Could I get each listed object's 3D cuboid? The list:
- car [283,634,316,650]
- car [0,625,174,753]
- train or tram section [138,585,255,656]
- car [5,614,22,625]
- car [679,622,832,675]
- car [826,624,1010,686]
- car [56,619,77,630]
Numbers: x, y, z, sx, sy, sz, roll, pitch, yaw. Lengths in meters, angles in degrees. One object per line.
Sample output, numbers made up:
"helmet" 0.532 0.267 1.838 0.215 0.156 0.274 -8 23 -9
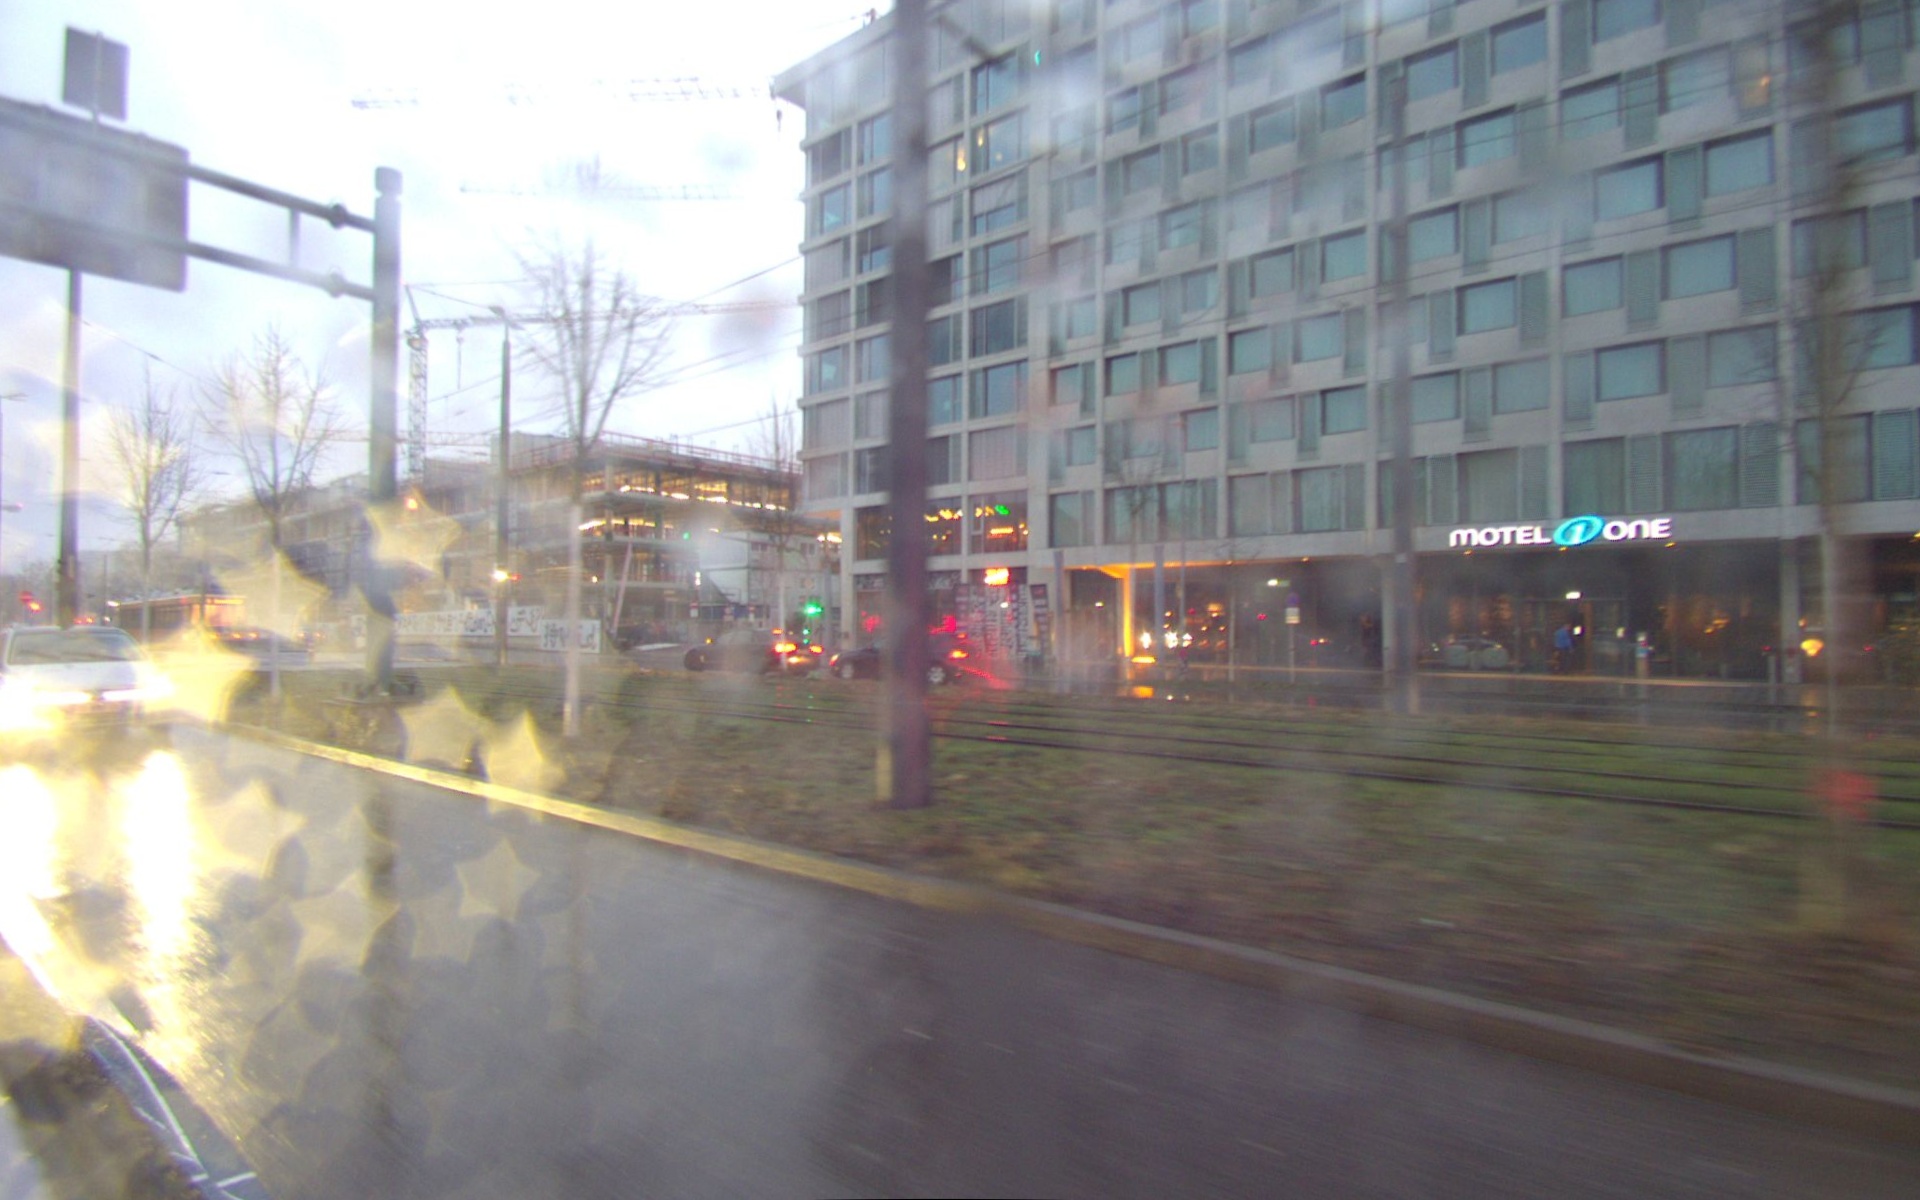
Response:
"car" -66.679 4.225 102.157 4.001 1.577 1.971 -2 -3 44
"car" -11.704 1.048 13.197 3.982 1.381 1.743 -1 -1 44
"train or tram section" -42.556 1.199 56.100 14.269 3.513 2.924 -2 -3 44
"car" -174.474 3.659 186.533 3.998 2.029 1.973 -2 -2 41
"car" -6.291 1.444 30.840 5.032 1.479 1.972 -2 -2 42
"car" -1.106 1.394 26.547 4.425 1.508 1.983 -1 -2 26
"car" -151.393 4.197 171.548 3.995 1.837 1.974 -1 -2 38
